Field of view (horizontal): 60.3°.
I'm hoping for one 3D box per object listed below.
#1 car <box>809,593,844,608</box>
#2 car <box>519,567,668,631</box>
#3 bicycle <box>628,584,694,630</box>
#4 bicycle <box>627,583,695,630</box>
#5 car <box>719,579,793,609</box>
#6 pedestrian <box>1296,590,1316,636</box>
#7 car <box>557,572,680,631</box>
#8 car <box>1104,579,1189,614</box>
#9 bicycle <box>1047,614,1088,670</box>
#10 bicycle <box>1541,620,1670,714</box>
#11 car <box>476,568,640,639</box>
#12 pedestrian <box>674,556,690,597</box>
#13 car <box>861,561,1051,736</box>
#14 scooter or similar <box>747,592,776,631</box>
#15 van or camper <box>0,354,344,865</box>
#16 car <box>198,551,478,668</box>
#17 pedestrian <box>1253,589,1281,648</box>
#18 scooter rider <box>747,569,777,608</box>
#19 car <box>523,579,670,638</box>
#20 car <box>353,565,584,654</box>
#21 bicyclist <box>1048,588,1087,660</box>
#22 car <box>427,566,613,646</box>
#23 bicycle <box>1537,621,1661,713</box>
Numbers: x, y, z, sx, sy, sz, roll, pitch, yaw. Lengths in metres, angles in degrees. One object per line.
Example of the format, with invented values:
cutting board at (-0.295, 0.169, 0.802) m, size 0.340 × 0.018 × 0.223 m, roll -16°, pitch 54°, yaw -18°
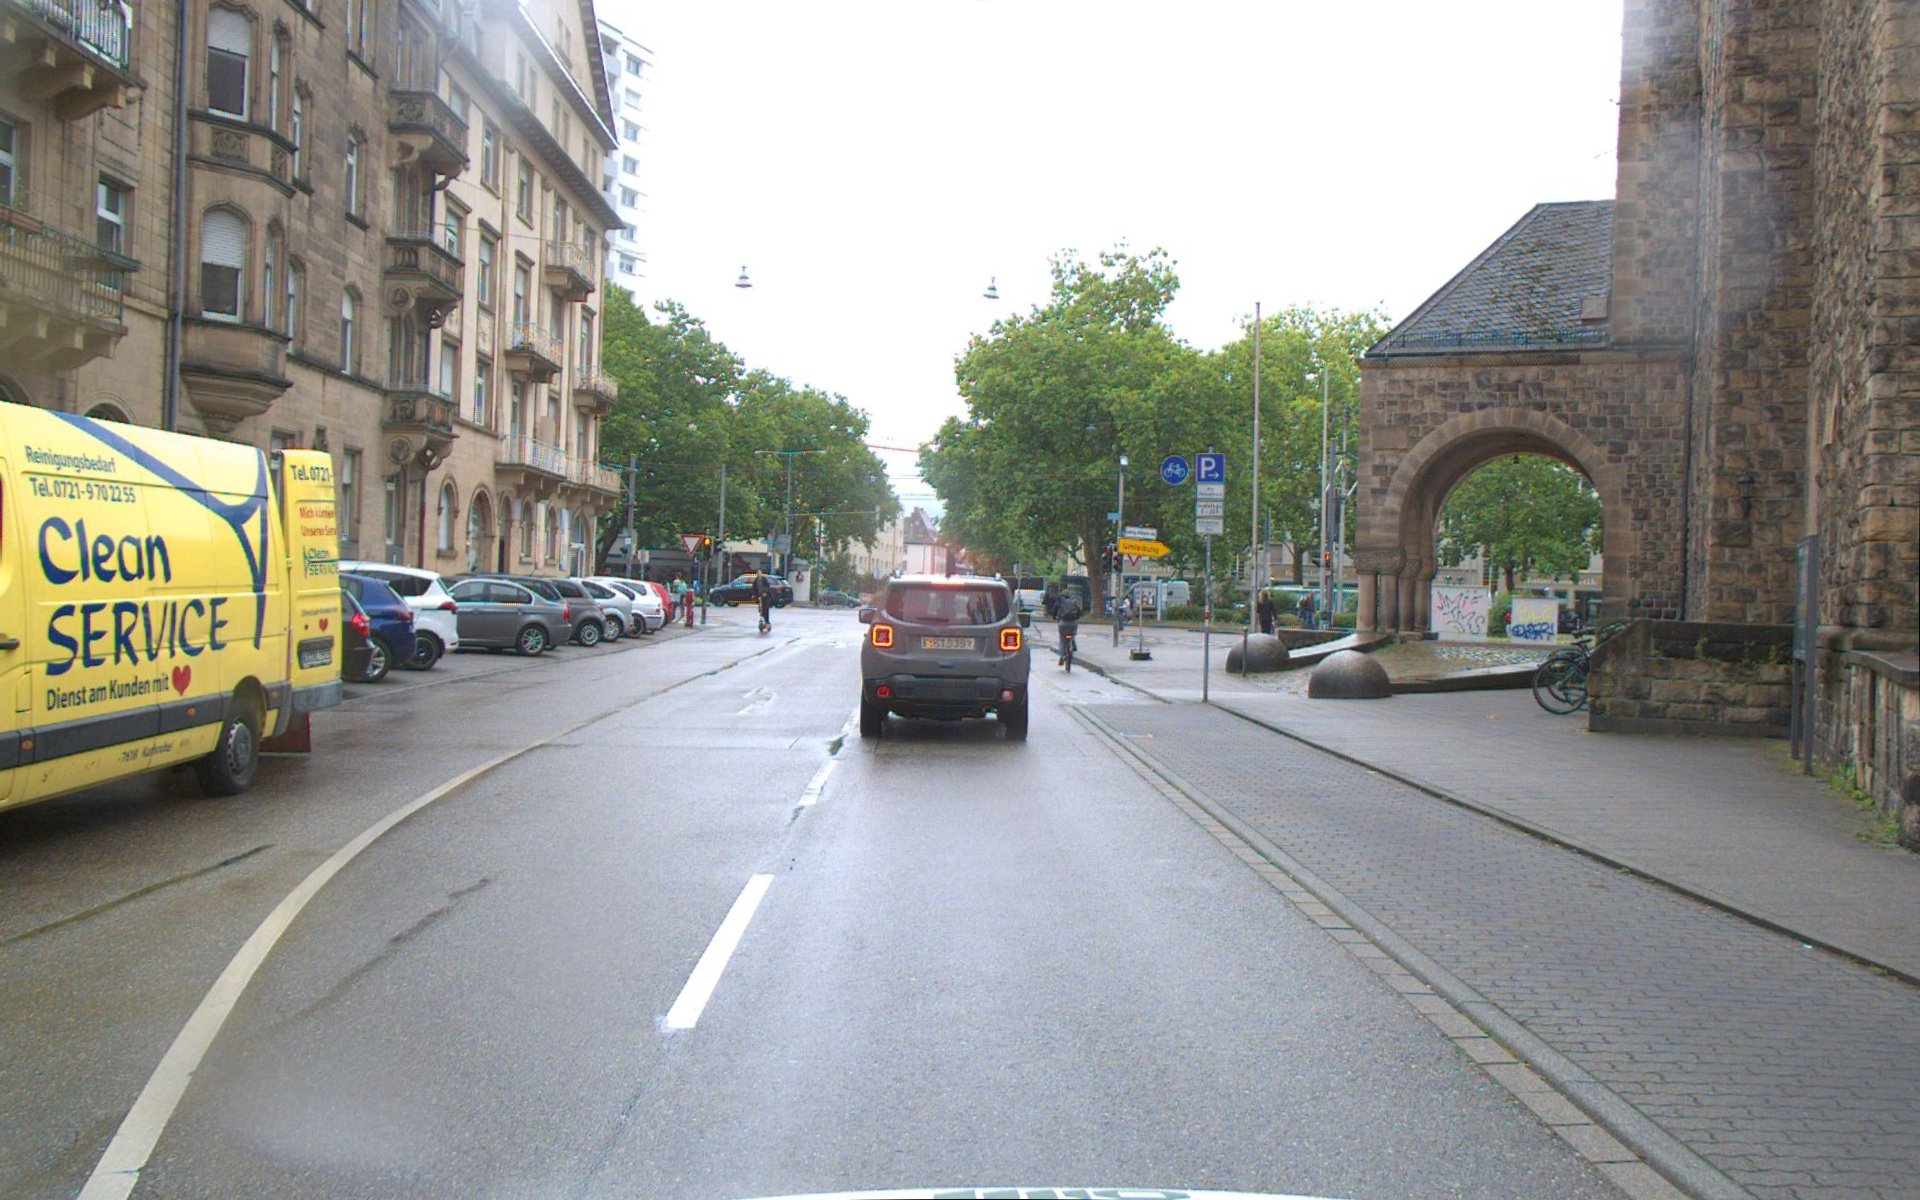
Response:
car at (-14.067, 0.083, 174.131) m, size 3.396 × 1.527 × 1.543 m, roll 1°, pitch 0°, yaw 10°
car at (-10.264, -0.012, 46.398) m, size 3.698 × 1.586 × 1.652 m, roll 3°, pitch -1°, yaw -35°
bicycle at (-9.797, 0.241, 54.289) m, size 2.063 × 1.469 × 0.487 m, roll 1°, pitch 0°, yaw -22°
bicycle at (-9.638, 0.215, 53.301) m, size 2.080 × 1.469 × 0.536 m, roll 1°, pitch 0°, yaw -22°
car at (-11.359, -0.348, 92.134) m, size 3.799 × 1.639 × 1.542 m, roll 1°, pitch 0°, yaw 19°
pedestrian at (13.370, 0.487, 63.932) m, size 0.667 × 1.741 × 0.693 m, roll 1°, pitch 0°, yaw 17°
car at (-10.247, 0.043, 49.686) m, size 3.217 × 1.586 × 1.517 m, roll 3°, pitch -1°, yaw -35°
car at (13.047, -0.261, 116.079) m, size 5.781 × 2.375 × 2.060 m, roll 1°, pitch 0°, yaw 2°
bicycle at (2.200, 0.851, 34.020) m, size 0.690 × 1.072 × 1.812 m, roll 1°, pitch 0°, yaw -1°
bicycle at (8.101, 0.834, 20.797) m, size 1.491 × 1.121 × 0.363 m, roll 1°, pitch 0°, yaw 20°
car at (-9.891, 0.095, 40.761) m, size 3.466 × 1.544 × 1.863 m, roll 3°, pitch -1°, yaw -35°
pedestrian at (-10.969, -0.913, 65.273) m, size 0.458 × 1.613 × 0.752 m, roll 1°, pitch 0°, yaw -2°
car at (-0.121, 0.480, 18.683) m, size 1.860 × 1.700 × 4.503 m, roll 1°, pitch 0°, yaw -2°
scooter or similar at (-6.536, 0.384, 54.436) m, size 0.833 × 1.233 × 0.986 m, roll 1°, pitch -2°, yaw -1°
van or camper at (-5.906, 0.118, 9.758) m, size 2.078 × 2.575 × 6.872 m, roll -2°, pitch -2°, yaw -2°
car at (-9.520, 0.162, 25.419) m, size 3.626 × 1.586 × 1.776 m, roll 3°, pitch -1°, yaw -38°
pedestrian at (9.179, 0.555, 49.529) m, size 0.676 × 1.741 × 0.684 m, roll 1°, pitch 0°, yaw -1°
scooter rider at (-6.518, -0.376, 54.453) m, size 0.862 × 1.241 × 0.983 m, roll 2°, pitch -2°, yaw -1°
car at (-9.620, 0.231, 43.837) m, size 3.384 × 1.339 × 1.758 m, roll 3°, pitch -1°, yaw -35°
car at (-9.438, 0.197, 31.902) m, size 3.821 × 1.505 × 1.857 m, roll 4°, pitch -1°, yaw -42°
bicyclist at (2.209, 0.483, 34.017) m, size 0.690 × 1.428 × 1.171 m, roll 1°, pitch 0°, yaw -1°
car at (-9.954, 0.149, 37.530) m, size 3.627 × 1.586 × 1.785 m, roll 4°, pitch -1°, yaw -38°
bicycle at (8.173, 0.849, 21.208) m, size 1.456 × 1.121 × 0.363 m, roll 1°, pitch 0°, yaw 20°
